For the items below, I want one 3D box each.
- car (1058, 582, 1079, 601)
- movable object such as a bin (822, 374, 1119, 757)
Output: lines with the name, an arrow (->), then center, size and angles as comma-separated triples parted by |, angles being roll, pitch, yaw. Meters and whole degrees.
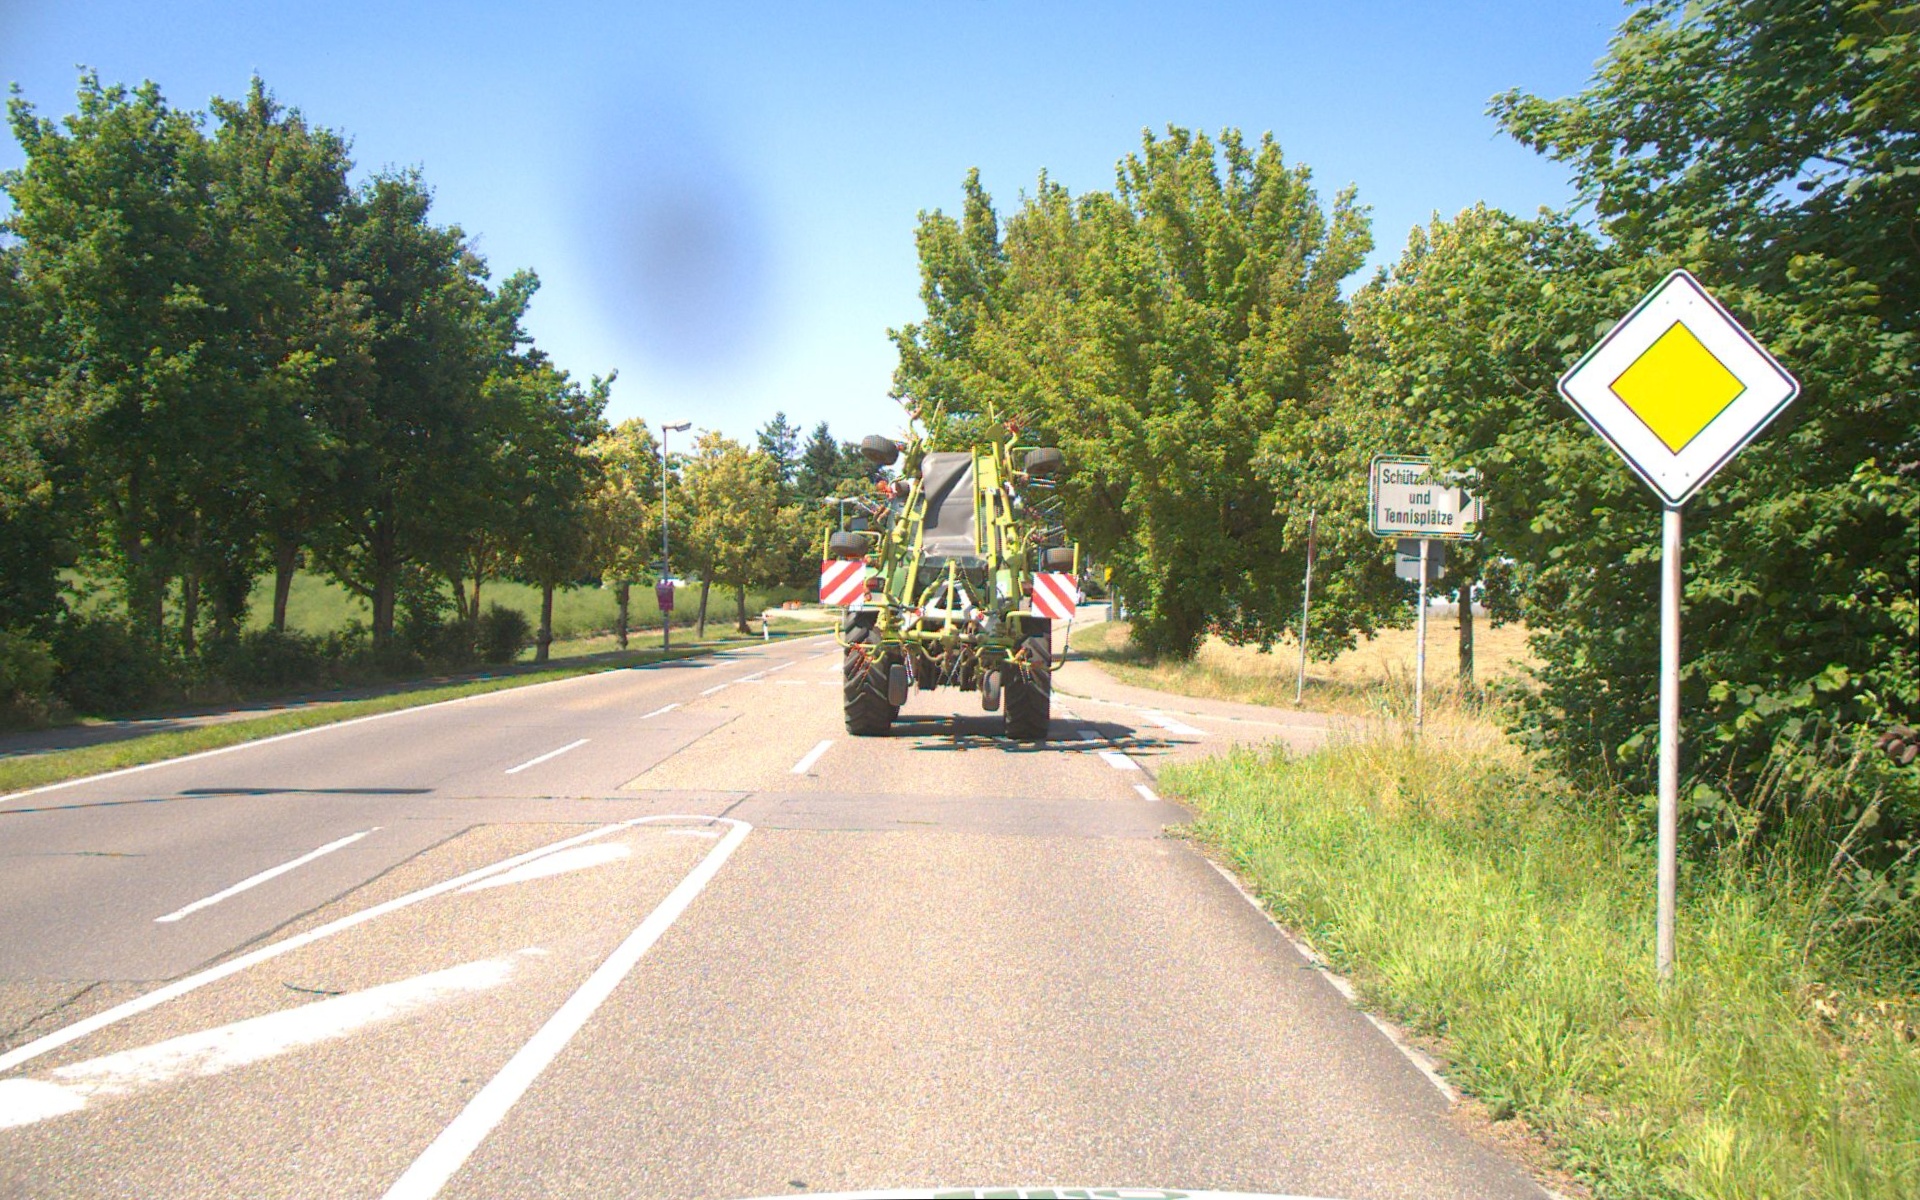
car -> 9.583, -0.756, 145.427 | 1.614, 1.458, 3.900 | 4, 1, 6
movable object such as a bin -> 0.050, -0.322, 20.567 | 2.795, 3.603, 9.699 | 1, 0, -1
